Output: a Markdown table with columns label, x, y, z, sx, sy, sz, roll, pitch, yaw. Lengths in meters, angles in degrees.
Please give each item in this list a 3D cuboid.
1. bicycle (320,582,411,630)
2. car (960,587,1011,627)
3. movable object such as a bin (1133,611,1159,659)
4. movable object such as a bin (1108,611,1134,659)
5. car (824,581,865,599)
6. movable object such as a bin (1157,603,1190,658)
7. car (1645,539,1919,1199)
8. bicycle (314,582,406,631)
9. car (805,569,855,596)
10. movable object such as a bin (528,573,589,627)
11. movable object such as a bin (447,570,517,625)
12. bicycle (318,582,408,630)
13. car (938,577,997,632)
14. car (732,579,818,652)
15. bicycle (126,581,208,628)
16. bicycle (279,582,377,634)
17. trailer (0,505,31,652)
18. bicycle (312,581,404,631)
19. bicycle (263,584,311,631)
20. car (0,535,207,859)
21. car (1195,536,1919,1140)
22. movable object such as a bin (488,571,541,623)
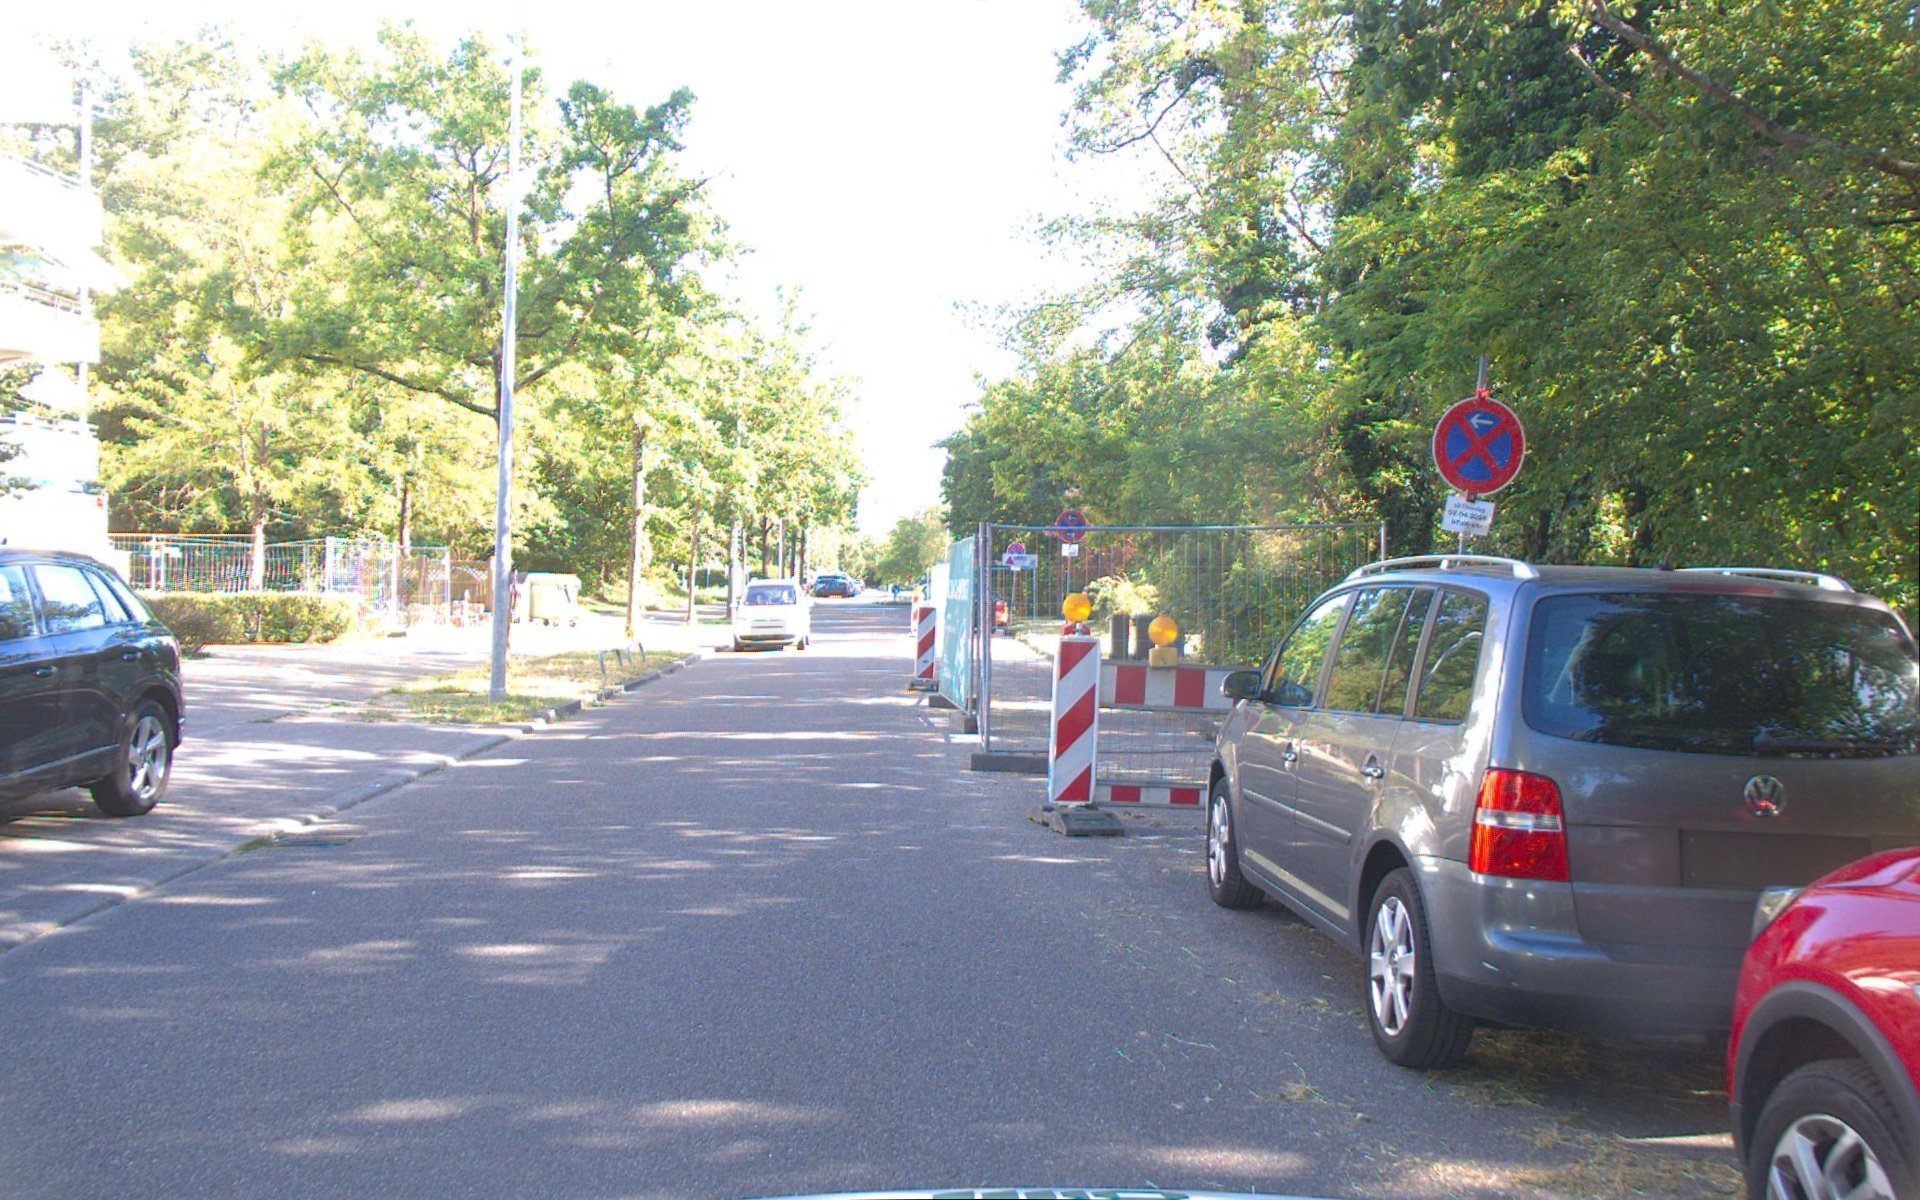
| label | x | y | z | sx | sy | sz | roll | pitch | yaw |
| --- | --- | --- | --- | --- | --- | --- | --- | --- | --- |
| bicycle | -13.286 | 0.137 | 36.991 | 1.883 | 1.045 | 0.399 | 1 | -1 | -15 |
| car | 0.927 | 0.238 | 61.841 | 1.628 | 1.399 | 4.153 | 3 | 0 | -2 |
| movable object such as a bin | 3.524 | 0.654 | 31.316 | 0.404 | 0.885 | 0.484 | -1 | 0 | -2 |
| movable object such as a bin | 3.044 | 0.662 | 31.280 | 0.404 | 0.885 | 0.484 | -1 | 0 | -2 |
| car | -11.663 | -1.028 | 167.341 | 4.023 | 1.604 | 1.958 | 3 | 0 | 0 |
| movable object such as a bin | 4.032 | 0.580 | 31.292 | 0.508 | 1.017 | 0.608 | -1 | 0 | -2 |
| car | 2.552 | 0.728 | 2.010 | 1.645 | 1.601 | 4.065 | 2 | 1 | -1 |
| bicycle | -13.085 | 0.142 | 36.112 | 1.828 | 1.045 | 0.399 | 1 | -1 | -15 |
| car | -13.890 | -1.882 | 176.195 | 5.101 | 2.666 | 2.290 | 3 | 0 | -7 |
| movable object such as a bin | -11.229 | -0.004 | 46.249 | 1.242 | 1.460 | 1.182 | 1 | 0 | 14 |
| movable object such as a bin | -12.987 | -0.084 | 44.965 | 1.244 | 1.460 | 1.325 | 1 | 0 | 26 |
| bicycle | -13.173 | 0.137 | 36.530 | 1.807 | 1.045 | 0.399 | 1 | -1 | -15 |
| car | 0.274 | 0.136 | 55.004 | 1.772 | 1.679 | 4.422 | 3 | 0 | 2 |
| car | -4.364 | 0.340 | 39.525 | 1.625 | 1.624 | 4.008 | 1 | 1 | -1 |
| bicycle | -17.913 | 0.104 | 37.363 | 1.659 | 1.045 | 0.401 | 1 | -1 | 3 |
| bicycle | -13.066 | 0.164 | 34.225 | 1.838 | 1.045 | 0.399 | 1 | -1 | -15 |
| trailer | -15.025 | -0.346 | 22.788 | 1.825 | 2.157 | 4.347 | 3 | 0 | 1 |
| bicycle | -12.960 | 0.142 | 35.645 | 1.807 | 1.045 | 0.399 | 1 | -1 | -15 |
| bicycle | -15.395 | 0.168 | 37.875 | 0.391 | 1.045 | 1.700 | 1 | 0 | 0 |
| car | -5.726 | 0.451 | 8.627 | 1.740 | 1.650 | 4.219 | 3 | 0 | -2 |
| car | 2.187 | 0.652 | 6.677 | 1.645 | 1.650 | 4.135 | 2 | 1 | -3 |
| movable object such as a bin | -12.889 | -0.095 | 47.823 | 1.132 | 1.460 | 1.257 | 0 | 0 | -36 |
